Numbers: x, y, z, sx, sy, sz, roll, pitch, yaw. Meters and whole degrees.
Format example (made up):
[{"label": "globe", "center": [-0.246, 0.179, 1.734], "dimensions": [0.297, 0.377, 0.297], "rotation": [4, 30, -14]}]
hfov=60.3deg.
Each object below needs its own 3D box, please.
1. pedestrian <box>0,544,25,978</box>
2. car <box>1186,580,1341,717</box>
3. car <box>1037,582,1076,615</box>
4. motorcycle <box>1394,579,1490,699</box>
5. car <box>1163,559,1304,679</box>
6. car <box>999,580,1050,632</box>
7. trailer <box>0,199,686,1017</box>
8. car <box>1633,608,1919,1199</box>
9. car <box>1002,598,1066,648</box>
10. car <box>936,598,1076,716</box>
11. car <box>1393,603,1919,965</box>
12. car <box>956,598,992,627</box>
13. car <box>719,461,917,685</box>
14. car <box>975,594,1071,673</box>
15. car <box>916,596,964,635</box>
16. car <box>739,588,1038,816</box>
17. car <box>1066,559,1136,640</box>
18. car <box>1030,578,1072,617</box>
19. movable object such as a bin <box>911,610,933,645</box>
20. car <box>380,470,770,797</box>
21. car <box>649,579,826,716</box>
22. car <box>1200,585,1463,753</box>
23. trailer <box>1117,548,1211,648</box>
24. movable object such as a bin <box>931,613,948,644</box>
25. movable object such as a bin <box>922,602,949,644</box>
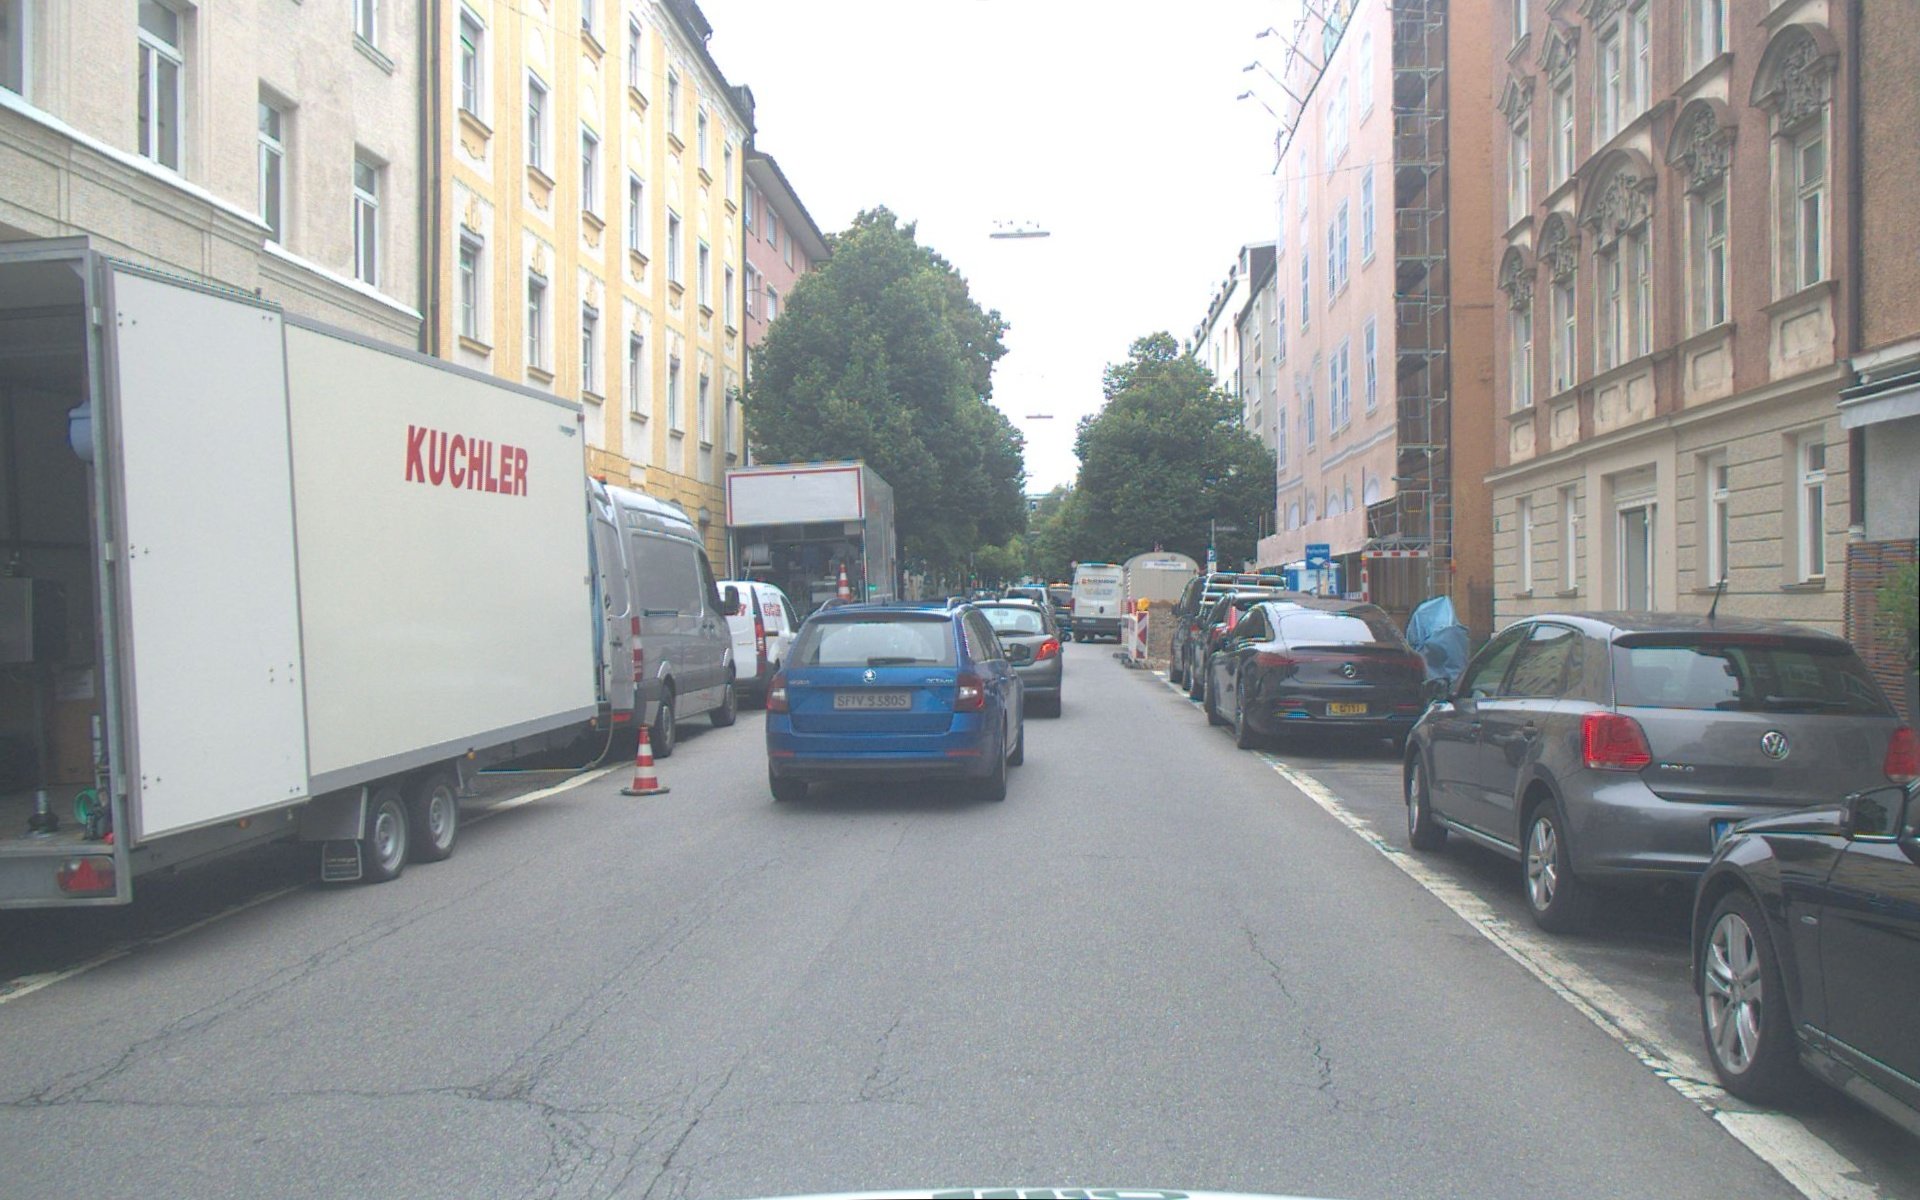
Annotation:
[{"label": "pedestrian", "center": [-4.049, 0.621, 6.245], "dimensions": [0.749, 1.659, 0.634], "rotation": [-1, -1, -16]}, {"label": "car", "center": [4.240, 0.641, 23.661], "dimensions": [1.658, 1.706, 4.410], "rotation": [2, 0, 4]}, {"label": "car", "center": [5.113, -0.089, 87.589], "dimensions": [1.966, 1.682, 4.349], "rotation": [1, 1, 3]}, {"label": "motorcycle", "center": [6.419, 0.500, 22.115], "dimensions": [0.853, 1.531, 1.998], "rotation": [0, 0, 5]}, {"label": "car", "center": [4.822, 0.419, 29.823], "dimensions": [2.038, 1.955, 5.142], "rotation": [1, -2, 4]}, {"label": "car", "center": [2.500, 0.210, 63.361], "dimensions": [1.828, 1.902, 4.349], "rotation": [1, 1, 3]}, {"label": "trailer", "center": [-4.090, 0.056, 10.059], "dimensions": [2.745, 3.020, 7.605], "rotation": [-4, 0, 5]}, {"label": "car", "center": [3.162, 0.741, 3.458], "dimensions": [1.808, 1.429, 4.790], "rotation": [0, 0, 3]}, {"label": "car", "center": [2.247, 0.646, 49.461], "dimensions": [1.828, 1.371, 4.349], "rotation": [1, 1, 3]}, {"label": "car", "center": [0.692, 0.704, 22.092], "dimensions": [1.704, 1.446, 3.666], "rotation": [0, 0, 4]}, {"label": "car", "center": [3.517, 0.747, 8.665], "dimensions": [1.539, 1.419, 4.184], "rotation": [-1, 0, 2]}, {"label": "car", "center": [0.765, 0.640, 88.787], "dimensions": [1.774, 1.504, 4.002], "rotation": [0, 0, 3]}, {"label": "car", "center": [-2.596, -0.454, 33.294], "dimensions": [2.754, 3.884, 8.726], "rotation": [-1, 0, 3]}, {"label": "car", "center": [1.298, 0.630, 33.989], "dimensions": [1.828, 1.479, 4.349], "rotation": [1, 1, 2]}, {"label": "car", "center": [-0.765, 0.599, 66.052], "dimensions": [1.775, 1.504, 4.001], "rotation": [0, 0, 1]}, {"label": "car", "center": [-0.380, 0.684, 13.114], "dimensions": [1.751, 1.486, 4.317], "rotation": [-1, 0, 6]}, {"label": "car", "center": [5.104, 0.001, 59.124], "dimensions": [2.067, 2.710, 5.504], "rotation": [1, 0, 9]}, {"label": "car", "center": [4.167, -0.125, 75.611], "dimensions": [1.828, 1.682, 4.349], "rotation": [1, 1, 3]}, {"label": "movable object such as a bin", "center": [-1.312, 0.965, 57.329], "dimensions": [0.697, 1.168, 0.636], "rotation": [-2, 0, 0]}, {"label": "car", "center": [-3.688, 0.284, 17.551], "dimensions": [2.013, 2.632, 6.879], "rotation": [-5, 0, 3]}, {"label": "car", "center": [-3.244, 0.661, 24.962], "dimensions": [1.726, 1.810, 4.329], "rotation": [-2, 0, 4]}, {"label": "car", "center": [3.915, 0.644, 18.445], "dimensions": [1.890, 1.580, 5.638], "rotation": [0, 0, 2]}, {"label": "trailer", "center": [6.315, -0.037, 51.955], "dimensions": [2.450, 2.890, 6.904], "rotation": [1, 0, 3]}, {"label": "movable object such as a bin", "center": [-0.703, 0.979, 57.360], "dimensions": [0.535, 1.038, 0.636], "rotation": [-2, 0, 0]}, {"label": "movable object such as a bin", "center": [-0.861, 0.807, 58.224], "dimensions": [0.899, 1.400, 1.079], "rotation": [-3, 0, -1]}]
